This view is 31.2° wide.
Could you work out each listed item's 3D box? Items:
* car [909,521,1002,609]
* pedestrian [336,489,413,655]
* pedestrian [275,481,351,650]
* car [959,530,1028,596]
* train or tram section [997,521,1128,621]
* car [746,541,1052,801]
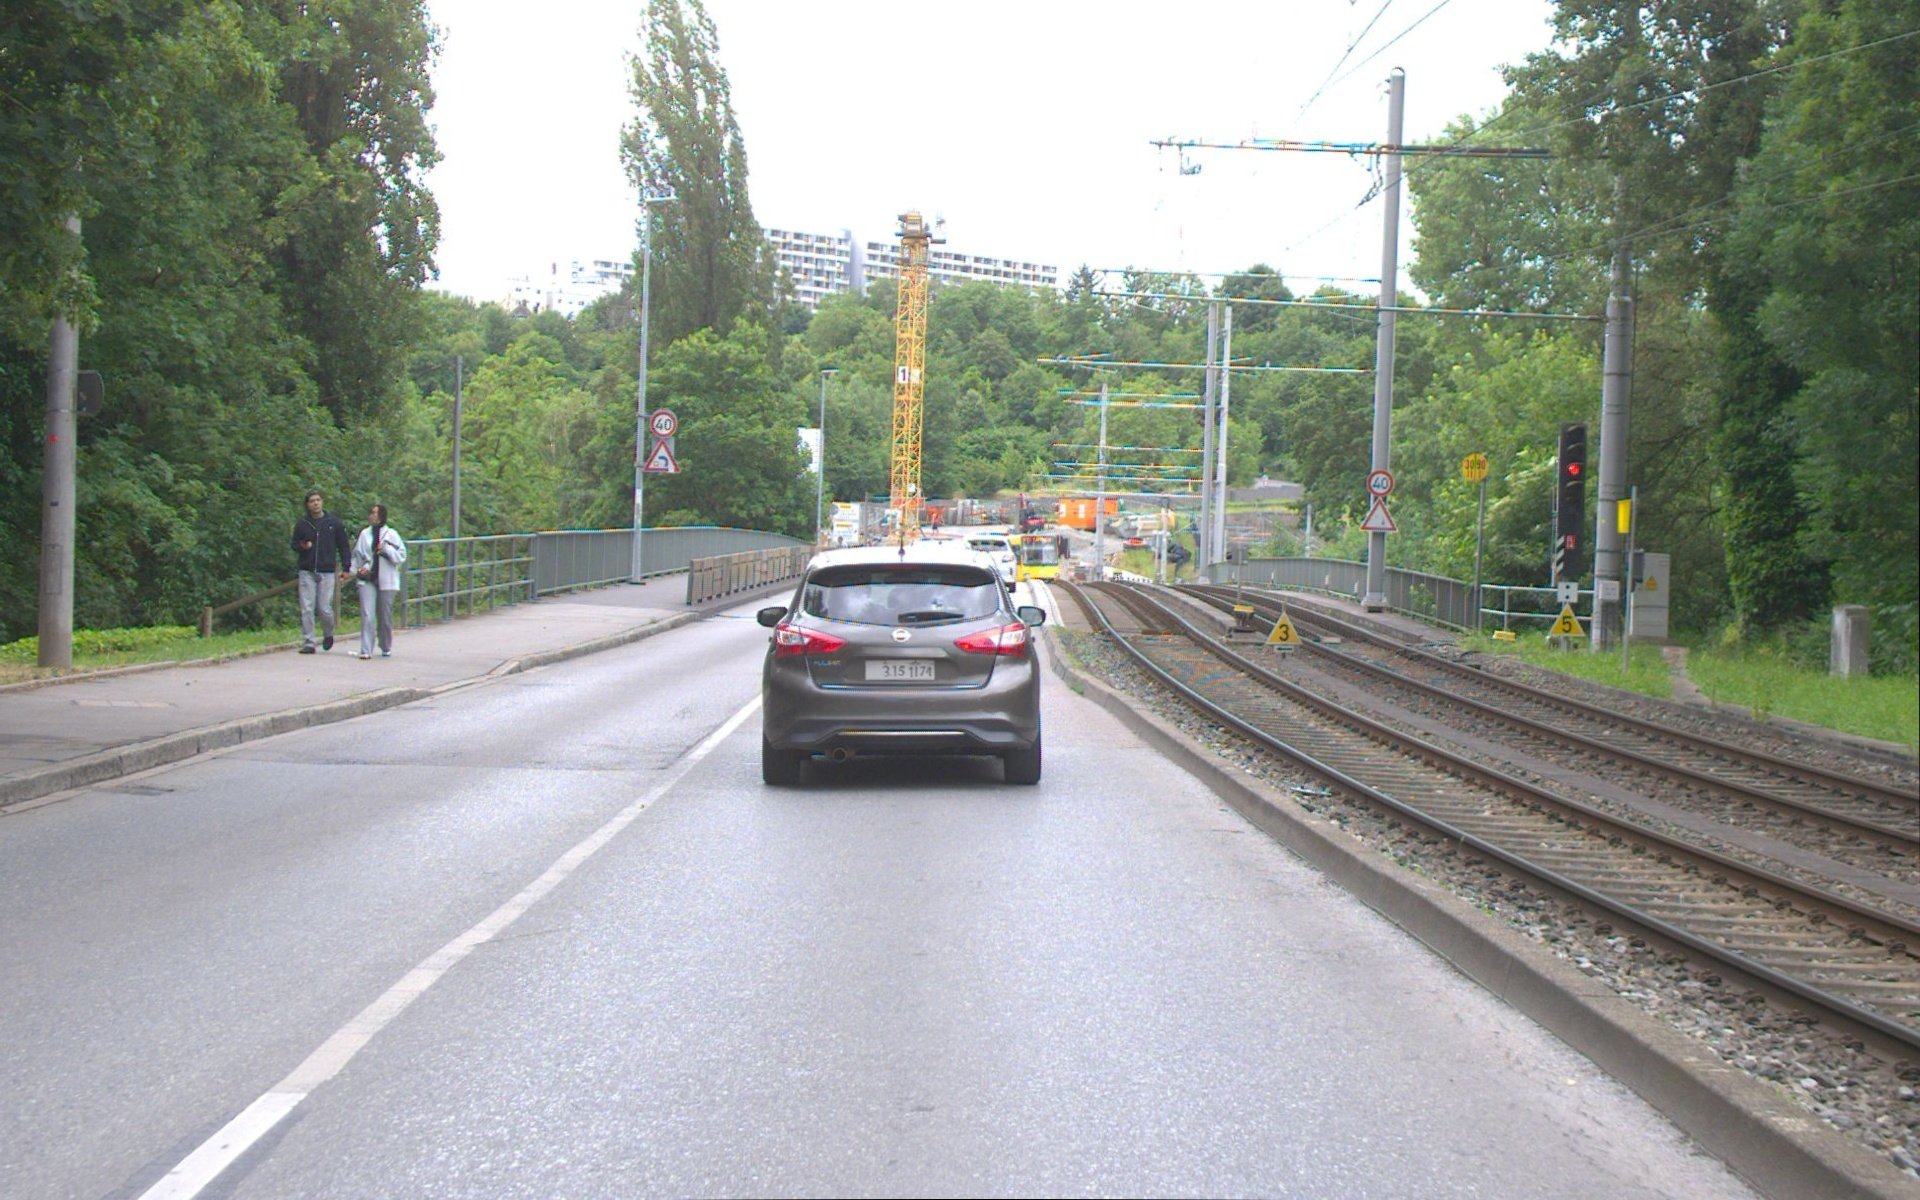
[{"bbox_3d":[-0.066,-0.712,68.816,1.680,1.601,4.309,4,1,1],"label":"car"},{"bbox_3d":[-6.433,-0.318,37.804,0.551,1.759,0.858,6,1,-1],"label":"pedestrian"},{"bbox_3d":[-7.082,-0.384,37.670,0.587,1.797,0.822,3,1,0],"label":"pedestrian"},{"bbox_3d":[0.896,-0.992,90.157,1.680,1.601,4.309,3,1,1],"label":"car"},{"bbox_3d":[5.623,-1.490,195.604,3.027,5.164,23.060,3,-1,-9],"label":"train or tram section"},{"bbox_3d":[-0.452,0.402,22.977,1.829,1.504,4.001,2,1,-2],"label":"car"}]
